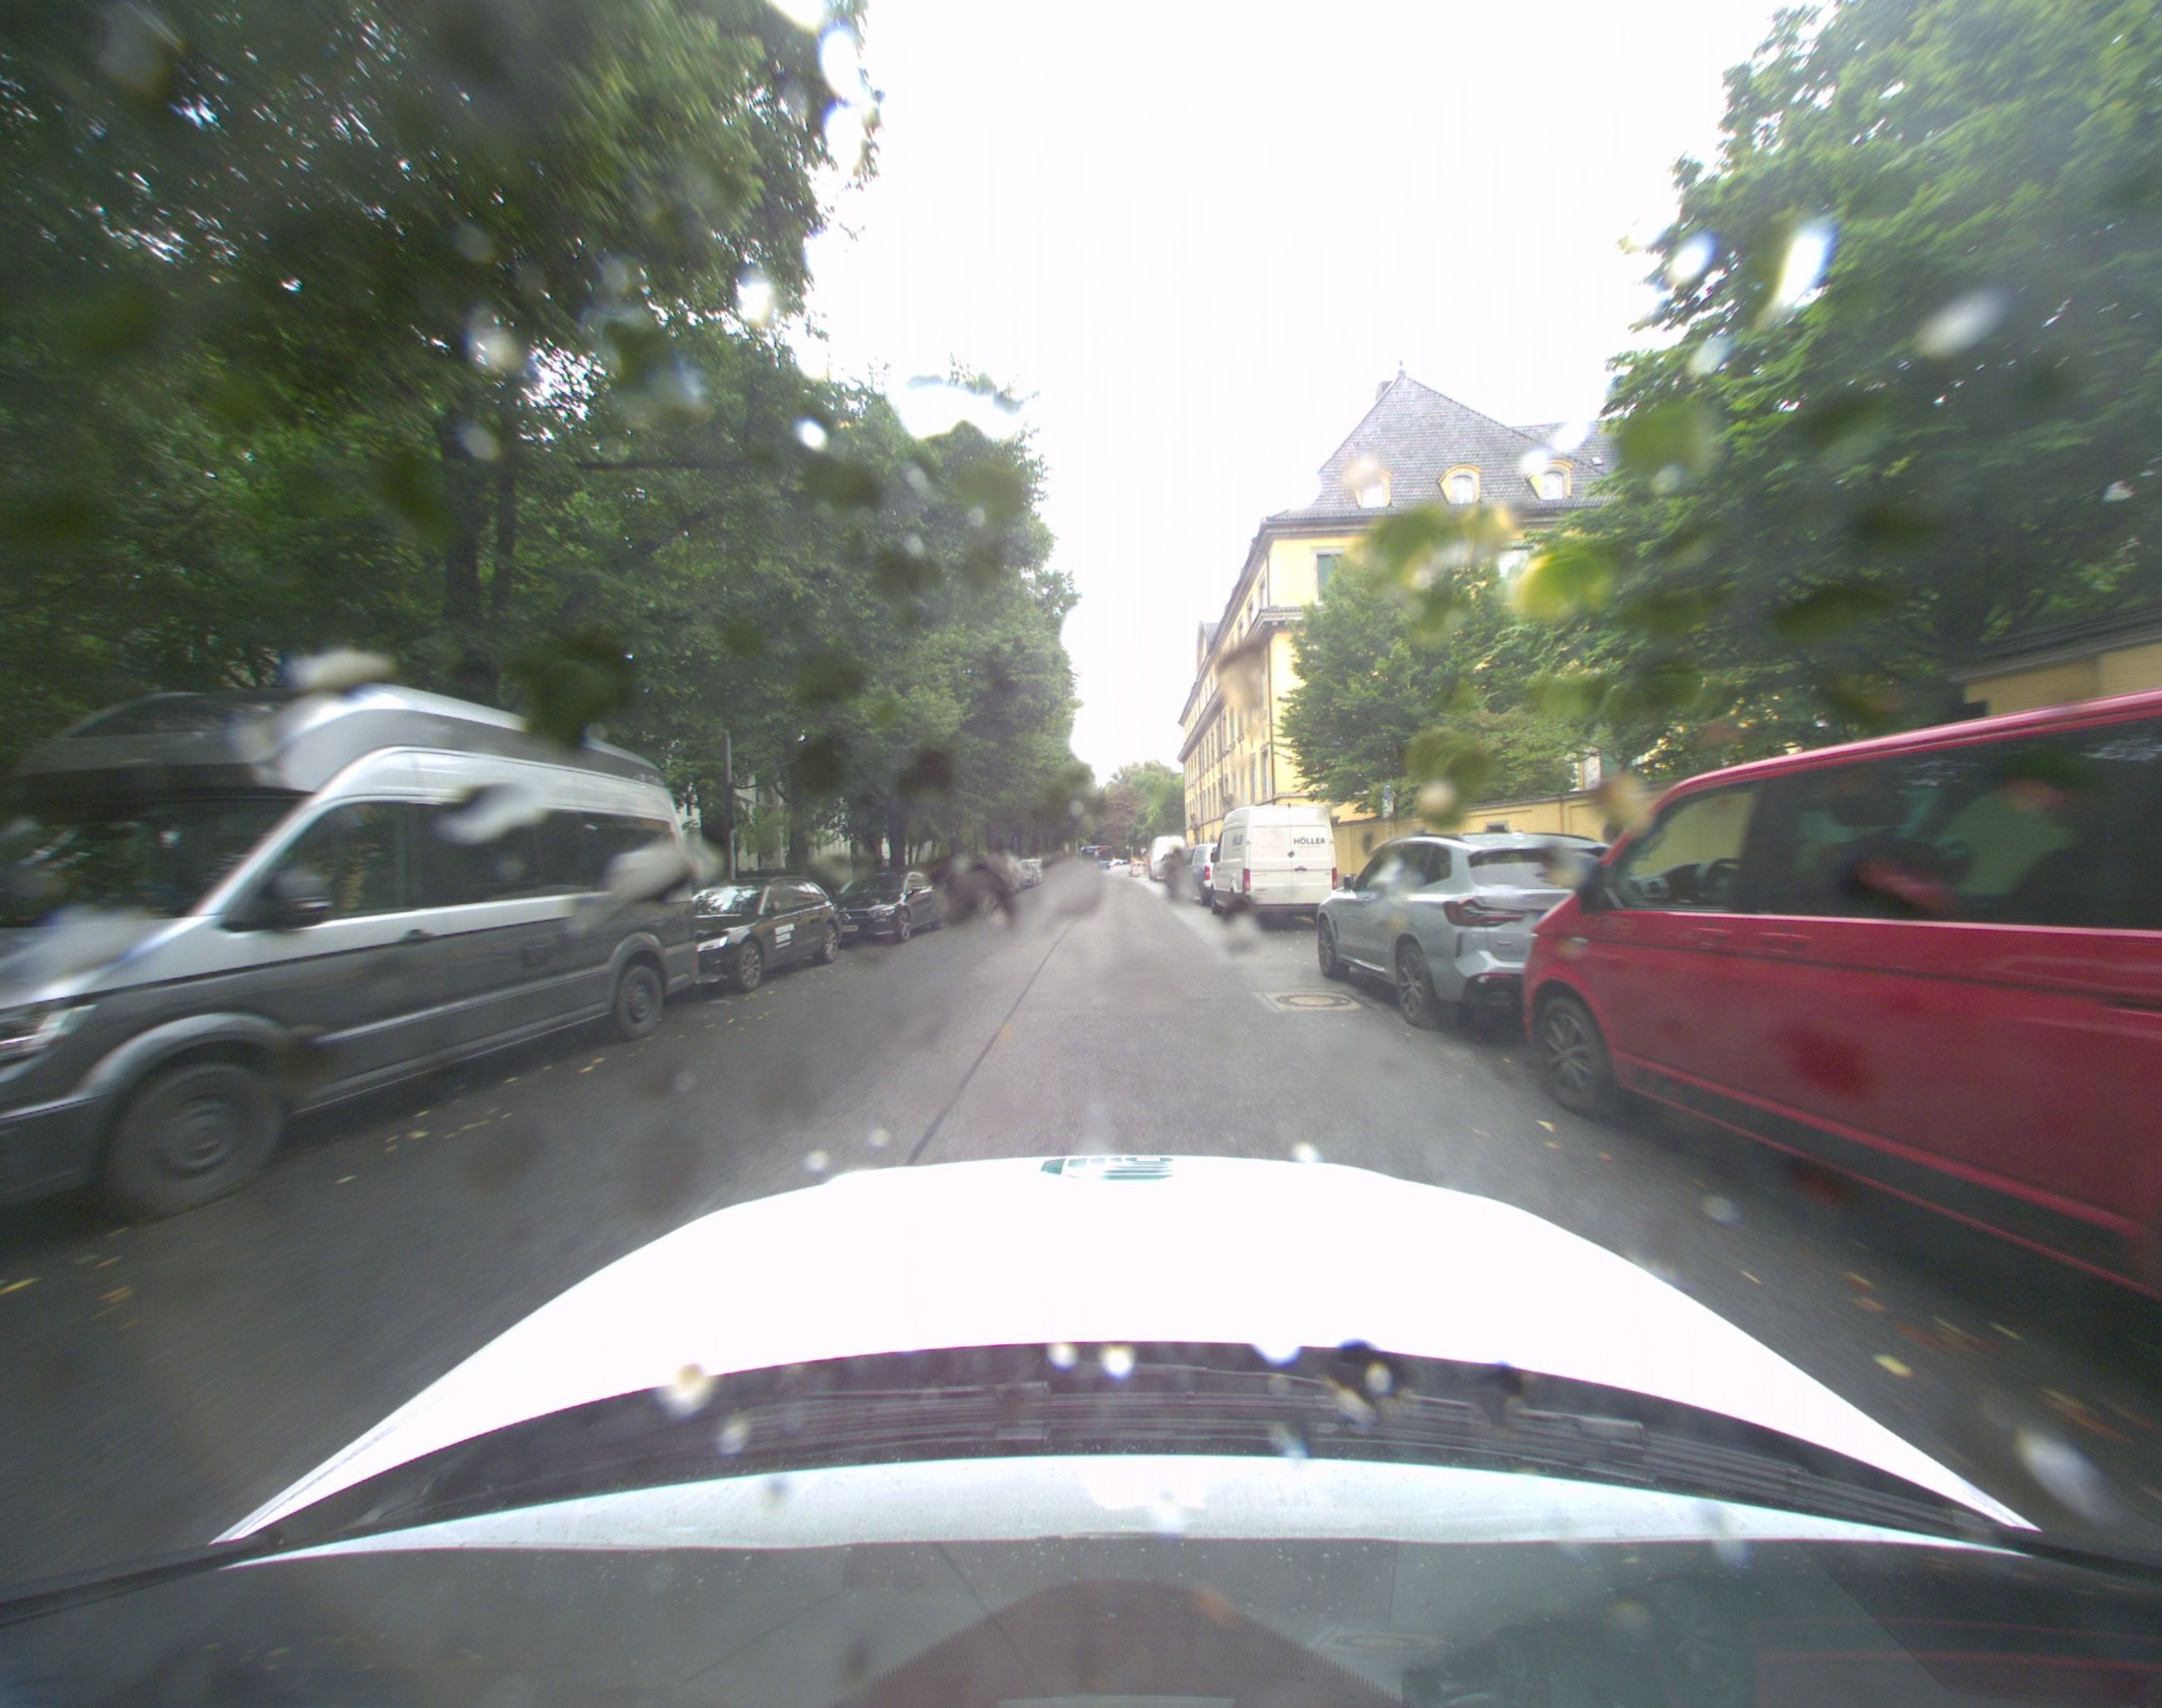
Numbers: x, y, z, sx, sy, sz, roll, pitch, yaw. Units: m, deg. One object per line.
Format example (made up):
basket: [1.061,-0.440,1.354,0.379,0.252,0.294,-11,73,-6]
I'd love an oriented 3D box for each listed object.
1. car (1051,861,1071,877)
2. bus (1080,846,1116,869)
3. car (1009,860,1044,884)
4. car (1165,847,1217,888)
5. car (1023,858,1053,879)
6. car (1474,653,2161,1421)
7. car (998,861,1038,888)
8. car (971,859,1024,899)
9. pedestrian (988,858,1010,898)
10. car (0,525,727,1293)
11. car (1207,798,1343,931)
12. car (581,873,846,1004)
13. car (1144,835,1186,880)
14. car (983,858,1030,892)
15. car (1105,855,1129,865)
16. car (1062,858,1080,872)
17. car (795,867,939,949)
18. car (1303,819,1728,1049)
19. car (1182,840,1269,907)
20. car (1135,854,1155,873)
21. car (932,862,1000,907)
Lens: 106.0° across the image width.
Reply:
car: [-1.994,1.478,82.035,1.987,1.420,3.999,-2,0,-1]
bus: [2.143,0.462,108.507,2.939,2.919,8.206,-2,0,-12]
car: [-3.530,1.134,53.092,1.987,1.420,3.999,-2,0,-1]
car: [4.921,0.593,37.009,1.788,1.679,4.000,-2,0,0]
car: [-3.104,1.034,59.663,1.987,1.420,3.999,-2,0,-1]
car: [3.666,0.441,3.112,1.905,1.937,4.969,-2,0,0]
car: [-3.595,1.166,47.384,1.987,1.420,3.999,-2,0,-1]
car: [-3.780,1.102,37.380,1.987,1.620,4.128,-2,0,-1]
pedestrian: [-3.419,0.996,34.004,0.882,1.598,0.822,-2,-1,-6]
car: [-5.221,0.246,6.075,2.164,3.002,6.235,-2,0,2]
car: [4.260,0.220,18.812,1.985,2.558,5.434,-2,0,2]
car: [-4.963,1.056,11.725,1.987,1.420,3.999,-2,0,-1]
car: [5.132,0.219,50.508,1.835,2.622,4.379,-2,0,-3]
car: [-3.766,1.037,41.842,1.987,1.620,4.128,-2,0,-1]
car: [6.188,1.027,140.504,3.974,1.546,2.000,-1,0,0]
car: [-1.101,1.222,91.133,1.987,1.420,3.999,-2,0,-1]
car: [-4.389,1.055,17.417,1.987,1.420,4.128,-2,0,-1]
car: [3.839,0.599,8.324,1.986,1.634,4.566,-2,0,2]
car: [4.467,0.568,25.774,1.987,1.883,4.000,-2,0,0]
car: [6.398,0.912,81.676,1.795,1.736,4.007,-2,0,6]
car: [-4.274,1.093,30.839,1.987,1.487,4.128,-2,0,-1]
